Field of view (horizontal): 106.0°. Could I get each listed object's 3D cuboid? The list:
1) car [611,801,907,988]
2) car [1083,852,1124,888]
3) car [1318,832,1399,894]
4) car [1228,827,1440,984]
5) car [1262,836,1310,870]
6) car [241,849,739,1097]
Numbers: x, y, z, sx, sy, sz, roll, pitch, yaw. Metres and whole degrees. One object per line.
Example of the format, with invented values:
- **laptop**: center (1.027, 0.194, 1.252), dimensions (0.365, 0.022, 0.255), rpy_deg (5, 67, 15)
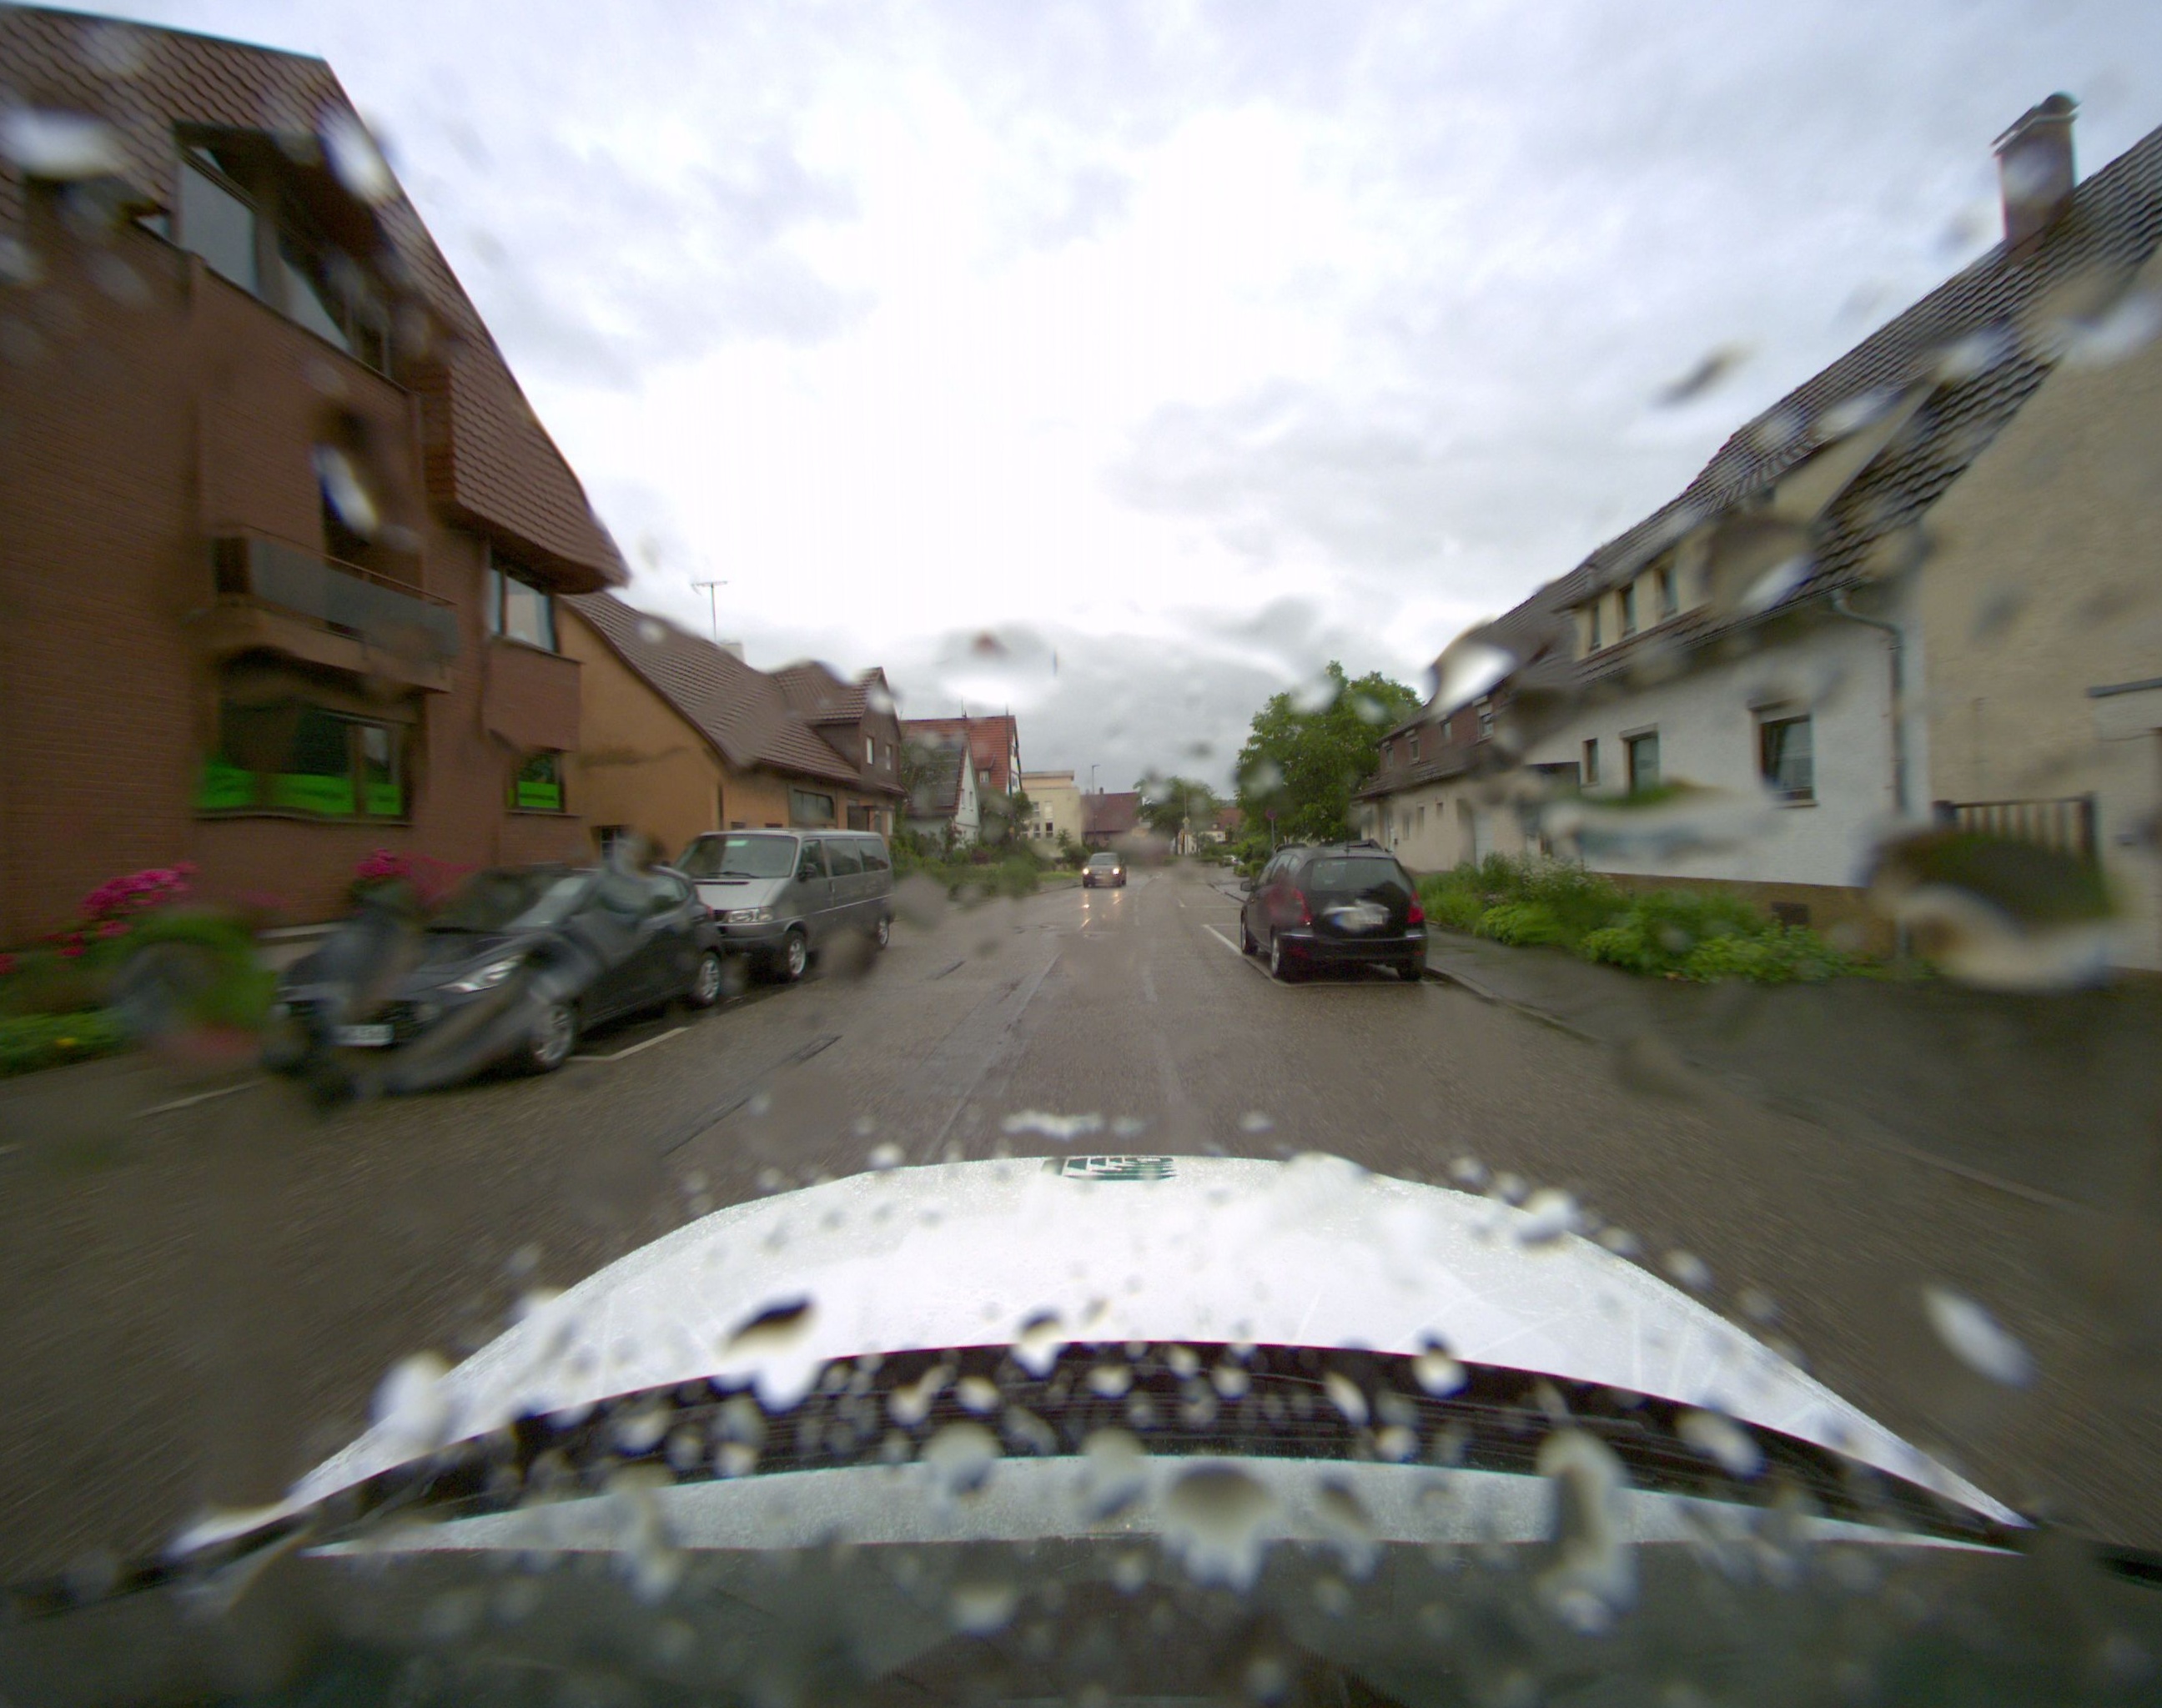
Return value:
- **car**: center (-4.169, 0.463, 11.703), dimensions (1.813, 2.013, 5.219), rpy_deg (-2, 0, 4)
- **car**: center (1.163, 0.740, 39.664), dimensions (1.790, 1.640, 4.005), rpy_deg (-1, 0, 4)
- **car**: center (8.154, 0.207, 23.700), dimensions (1.743, 1.393, 4.023), rpy_deg (-8, -1, 24)
- **car**: center (3.212, 0.589, 11.184), dimensions (1.743, 1.710, 4.002), rpy_deg (-2, 0, 2)
- **car**: center (9.369, -0.048, 37.360), dimensions (1.629, 1.430, 3.684), rpy_deg (-2, 0, 7)
- **car**: center (-4.482, 0.758, 6.924), dimensions (1.573, 1.497, 3.566), rpy_deg (-2, 0, 0)
